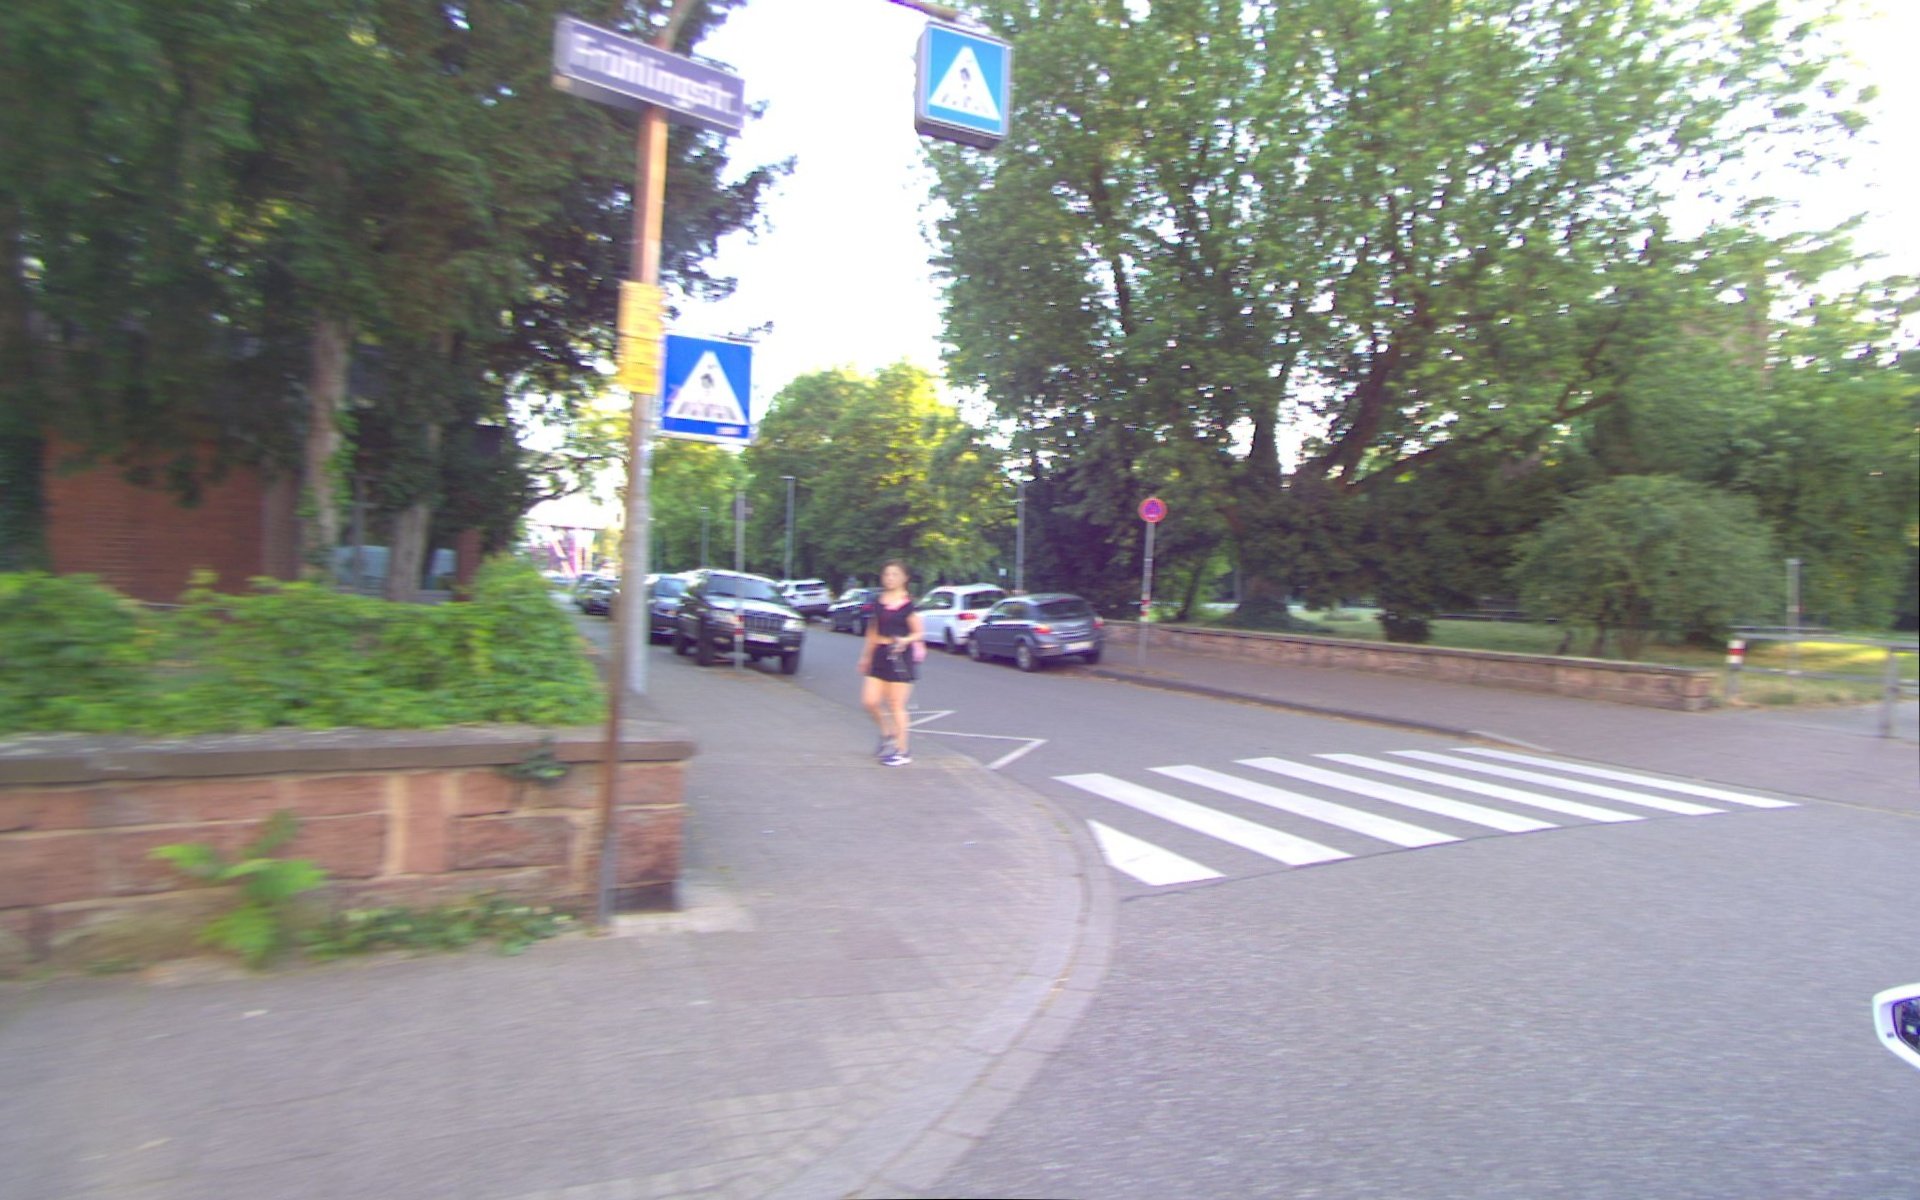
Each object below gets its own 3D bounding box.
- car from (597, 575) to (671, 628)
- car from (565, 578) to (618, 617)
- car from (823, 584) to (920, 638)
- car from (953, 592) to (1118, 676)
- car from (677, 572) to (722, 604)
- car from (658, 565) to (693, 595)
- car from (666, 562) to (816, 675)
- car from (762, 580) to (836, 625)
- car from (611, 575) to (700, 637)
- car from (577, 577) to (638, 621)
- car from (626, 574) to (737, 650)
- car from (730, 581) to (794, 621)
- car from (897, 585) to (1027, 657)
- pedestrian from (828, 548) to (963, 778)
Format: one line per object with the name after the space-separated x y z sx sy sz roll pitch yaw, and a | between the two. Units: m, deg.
-11.088 0.023 33.972 1.765 1.519 3.859 6 -2 -26 | car
-16.689 -0.134 45.353 1.765 1.519 3.859 6 -2 -26 | car
-2.884 0.301 32.046 1.763 1.496 3.859 -4 3 -26 | car
1.491 0.624 21.258 1.763 1.471 3.859 -4 3 -26 | car
-16.551 -0.789 63.779 1.939 1.861 3.859 -4 3 -26 | car
-20.912 -1.447 73.736 1.763 2.064 3.859 -4 3 -26 | car
-4.139 0.303 18.552 1.764 1.777 3.859 4 -1 -26 | car
-6.380 0.049 39.566 1.763 1.593 3.859 -4 3 -26 | car
-8.867 0.143 29.053 1.765 1.519 3.859 6 -2 -26 | car
-14.116 -0.067 40.134 1.765 1.519 3.859 6 -2 -26 | car
-6.667 0.247 23.809 1.765 1.519 3.859 6 -2 -26 | car
-8.813 -0.001 44.475 1.763 1.593 3.859 -4 3 -26 | car
-0.026 0.459 25.667 1.763 1.598 3.859 -4 3 -26 | car
-0.555 0.504 8.356 0.847 1.748 0.823 6 0 -12 | pedestrian
